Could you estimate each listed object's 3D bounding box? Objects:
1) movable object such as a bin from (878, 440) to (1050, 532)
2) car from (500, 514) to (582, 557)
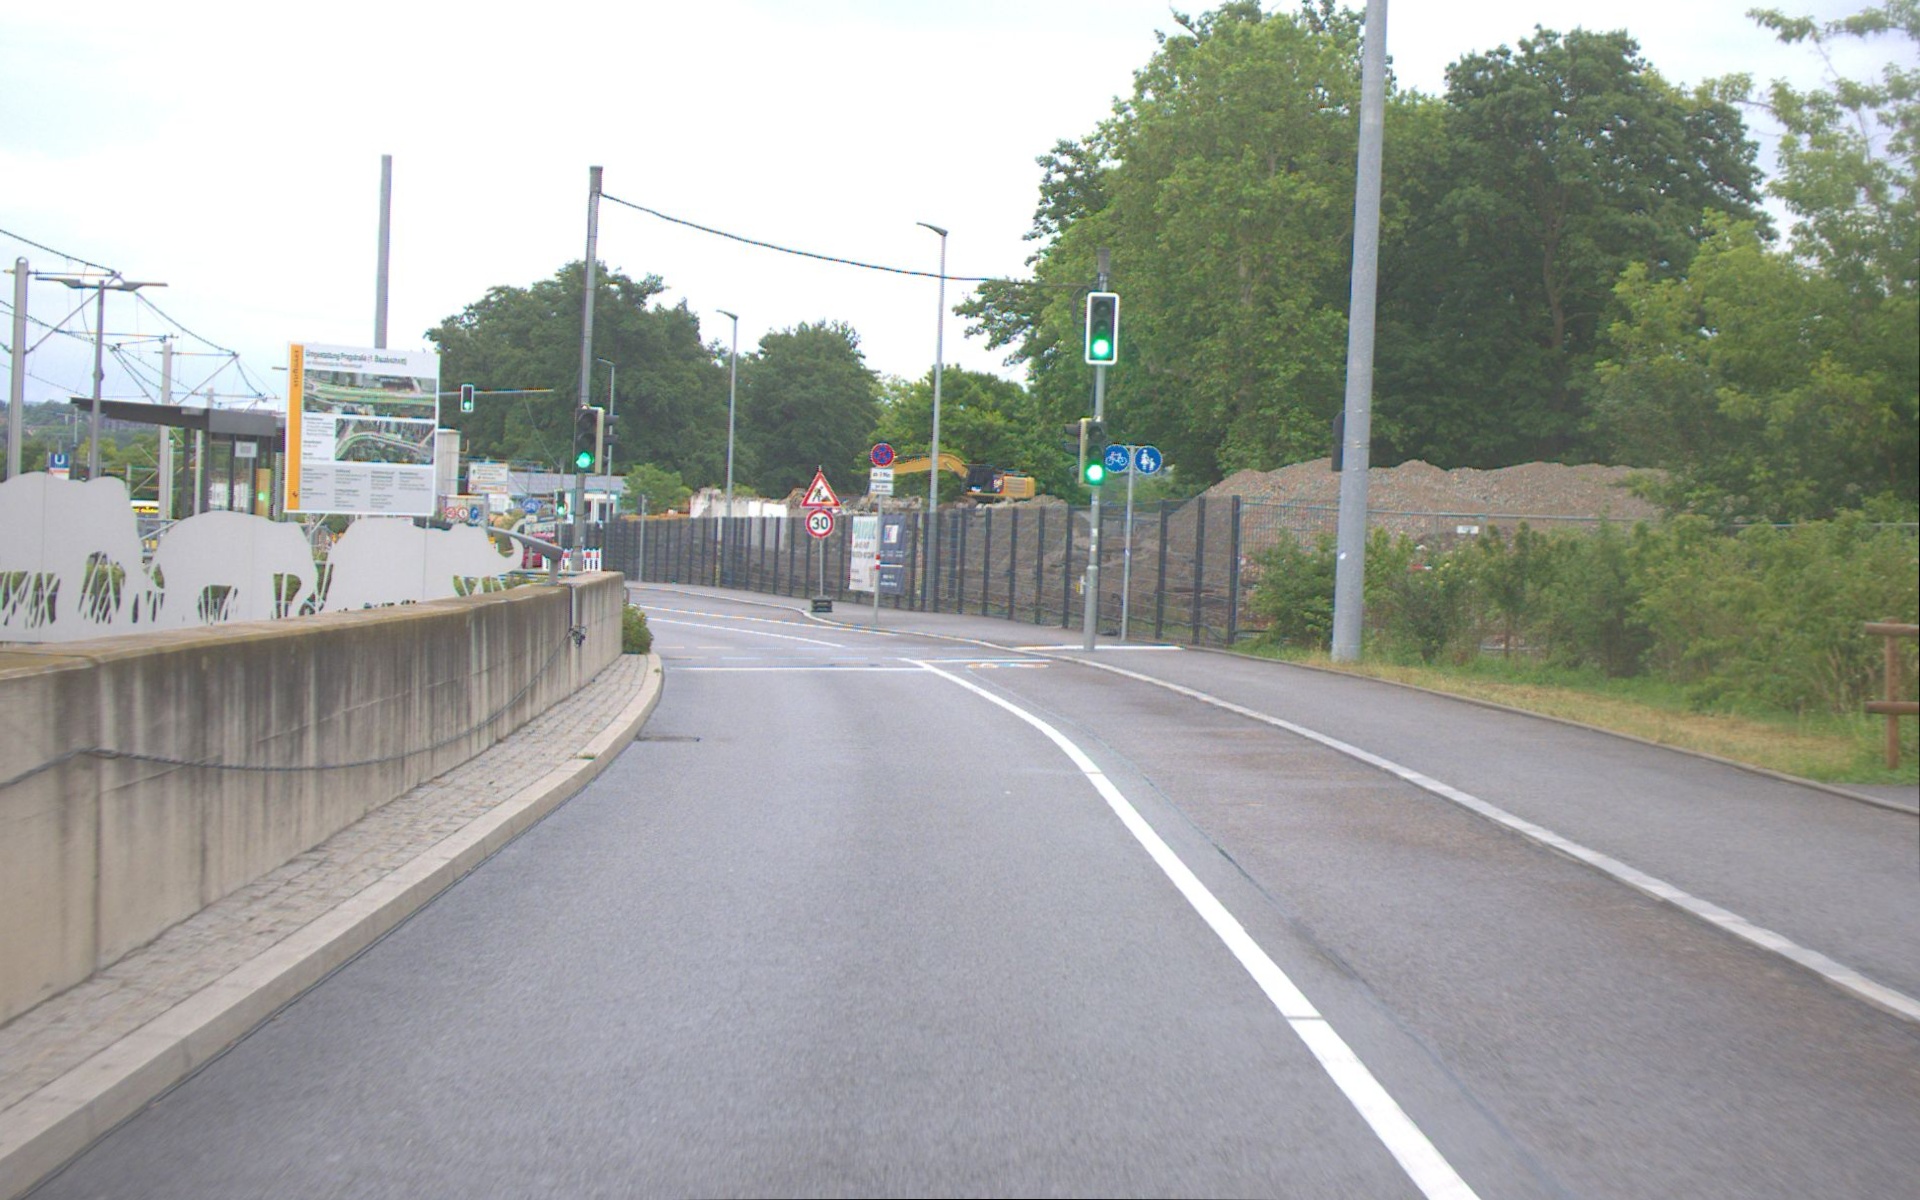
[{"bbox_3d":[0.220,-7.629,231.083,11.229,5.975,3.492,0,0,-5],"label":"movable object such as a bin"},{"bbox_3d":[-18.100,-2.795,148.854,1.821,1.787,4.405,1,1,18],"label":"car"}]
